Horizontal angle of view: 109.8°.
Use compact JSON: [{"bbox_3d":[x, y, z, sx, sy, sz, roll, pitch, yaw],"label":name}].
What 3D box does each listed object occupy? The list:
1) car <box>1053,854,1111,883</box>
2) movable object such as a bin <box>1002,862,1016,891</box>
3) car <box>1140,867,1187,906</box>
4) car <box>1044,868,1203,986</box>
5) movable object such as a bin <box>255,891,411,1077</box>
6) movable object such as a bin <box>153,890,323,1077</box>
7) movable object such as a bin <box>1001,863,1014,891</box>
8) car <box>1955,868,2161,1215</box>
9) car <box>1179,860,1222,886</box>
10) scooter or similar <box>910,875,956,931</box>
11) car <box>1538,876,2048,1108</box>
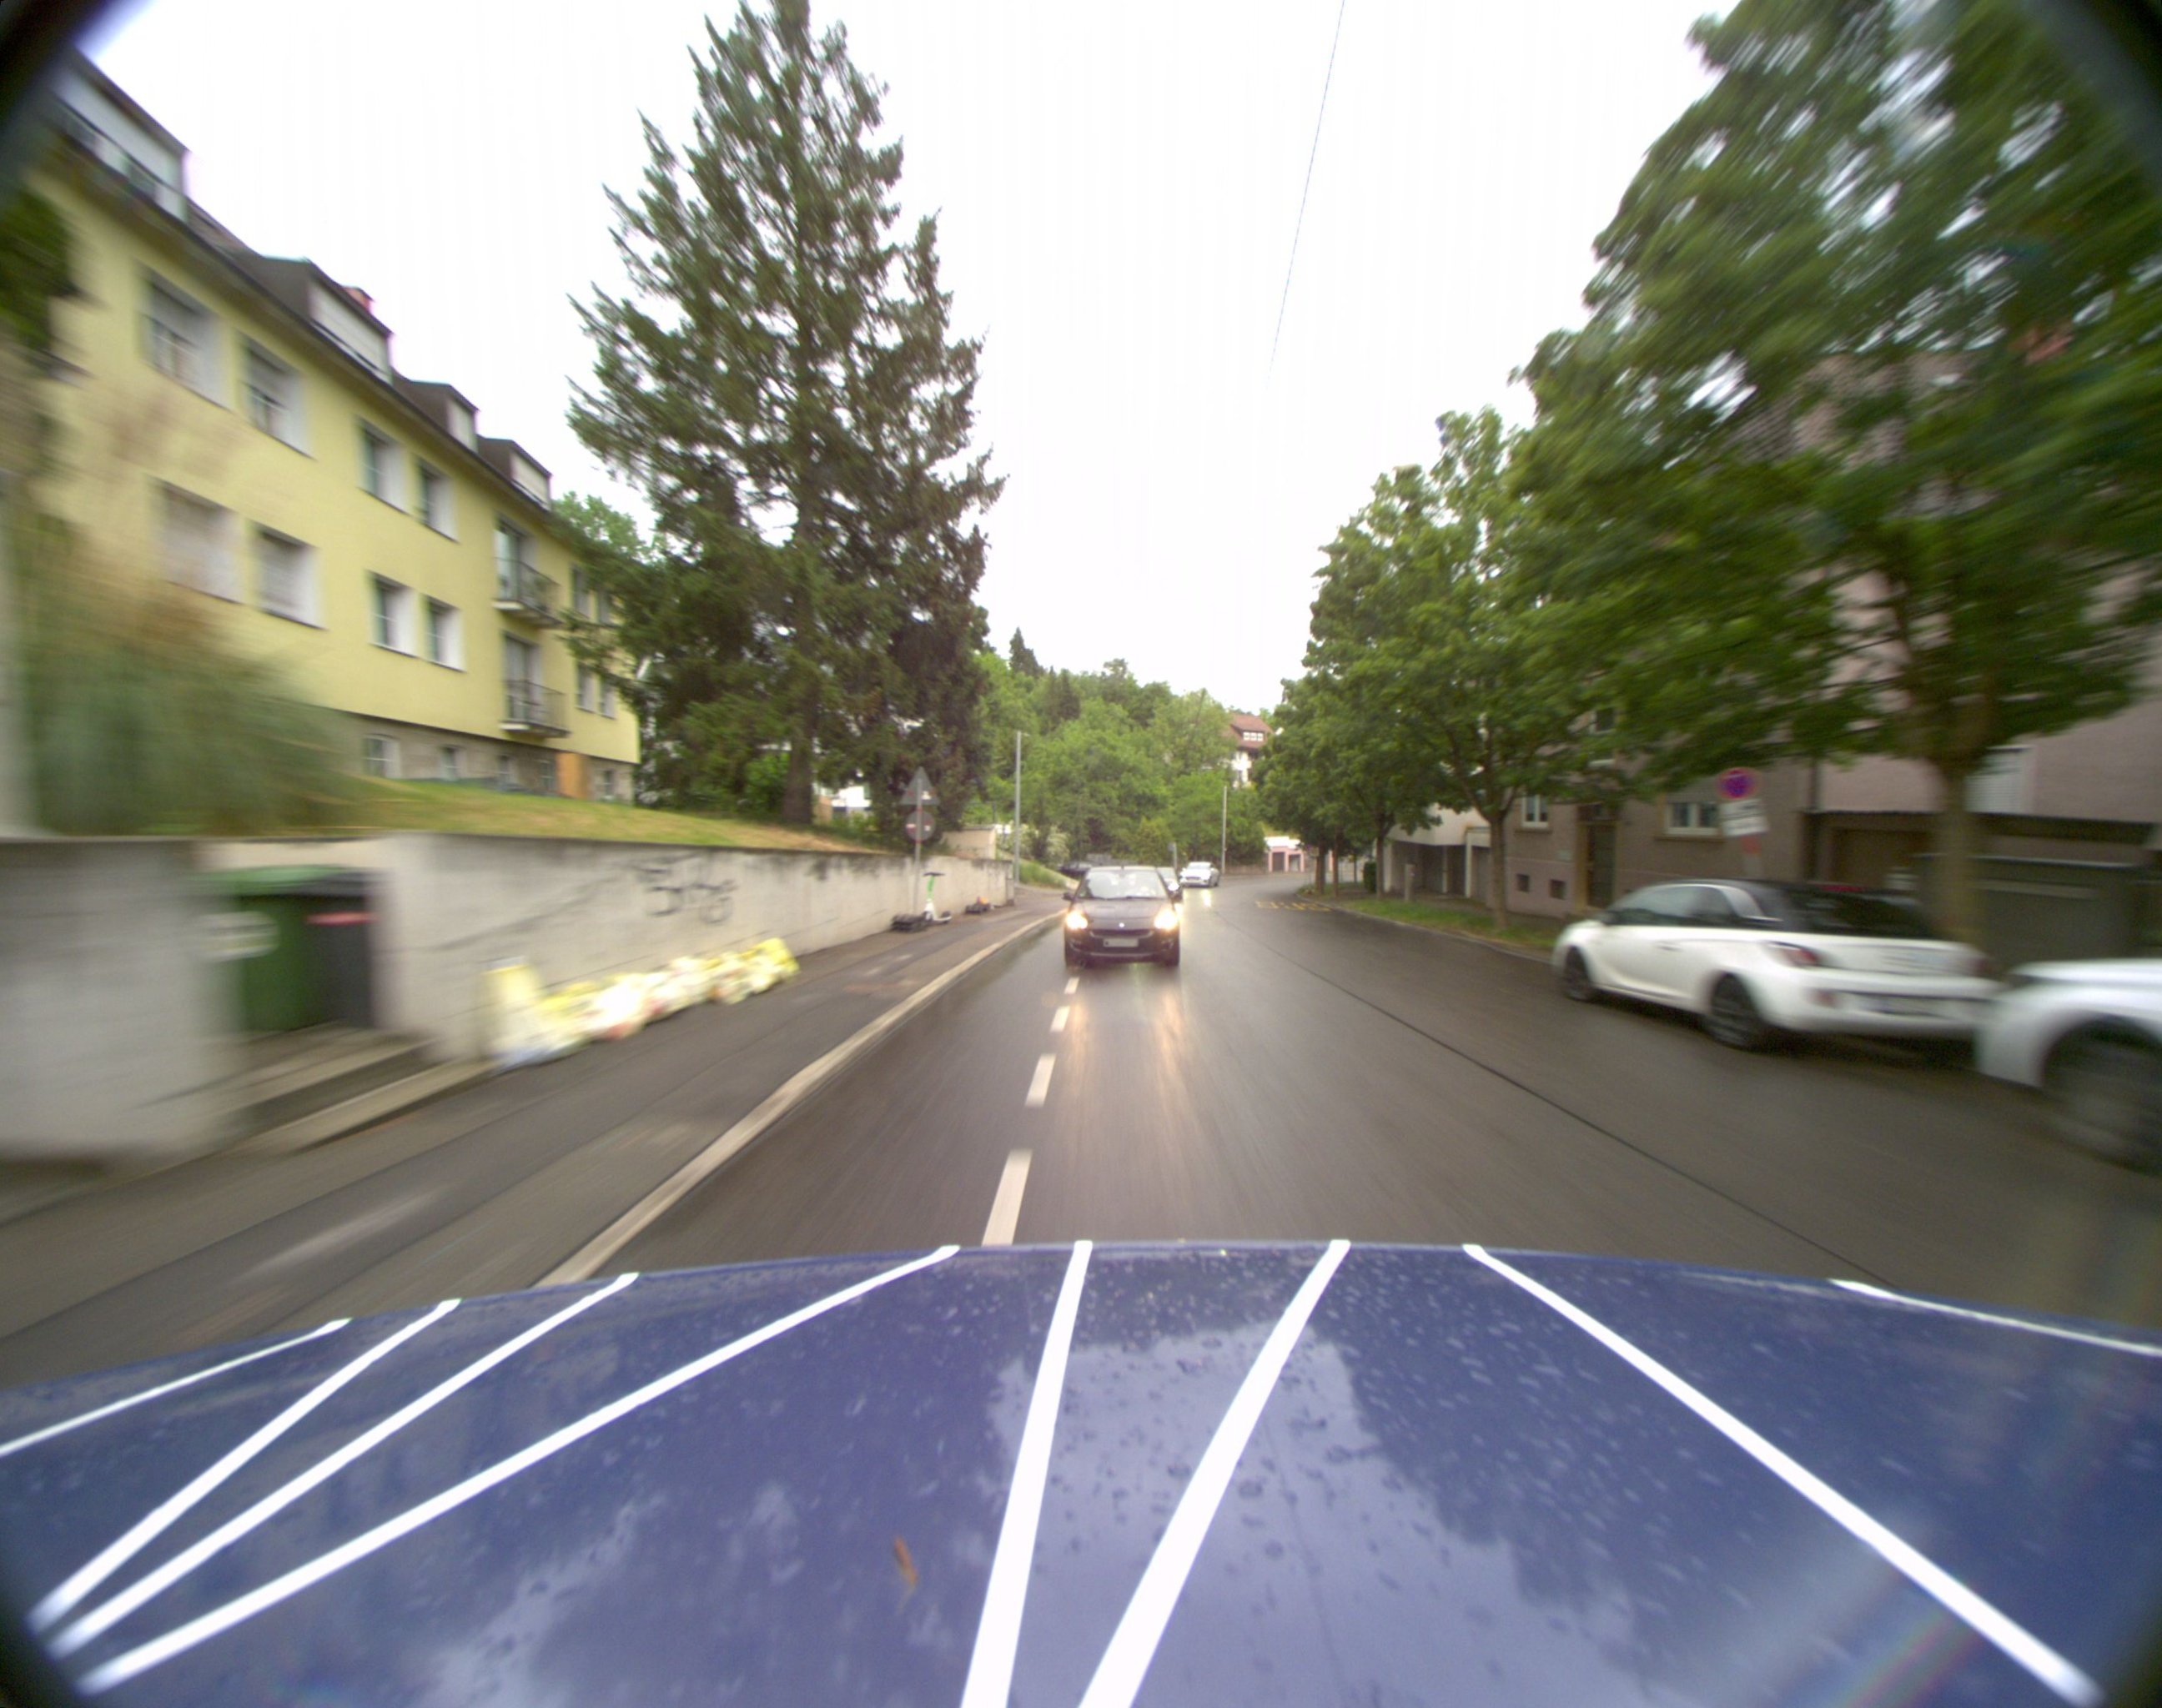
[{"bbox_3d":[0.094,0.929,49.283,3.463,1.623,1.580,3,1,11],"label":"car"},{"bbox_3d":[-3.366,1.052,35.453,0.554,1.343,0.463,1,0,1],"label":"movable object such as a bin"},{"bbox_3d":[3.441,1.304,31.646,1.806,1.480,4.019,1,0,7],"label":"car"},{"bbox_3d":[0.797,0.966,11.517,1.576,1.443,3.592,-1,-1,17],"label":"car"},{"bbox_3d":[-4.692,0.793,4.794,0.482,1.085,0.493,1,0,1],"label":"movable object such as a bin"},{"bbox_3d":[-5.285,0.783,4.790,0.479,1.085,0.520,1,0,1],"label":"movable object such as a bin"},{"bbox_3d":[-3.377,1.047,34.945,0.564,1.260,0.453,1,0,1],"label":"movable object such as a bin"},{"bbox_3d":[6.039,0.976,2.529,1.596,1.649,3.923,5,0,0],"label":"car"},{"bbox_3d":[7.975,1.215,50.373,2.009,1.652,4.452,1,0,19],"label":"car"},{"bbox_3d":[-3.216,1.044,16.595,0.599,1.126,1.371,1,0,5],"label":"scooter or similar"},{"bbox_3d":[6.269,1.051,7.378,1.621,1.462,3.670,5,0,5],"label":"car"}]
